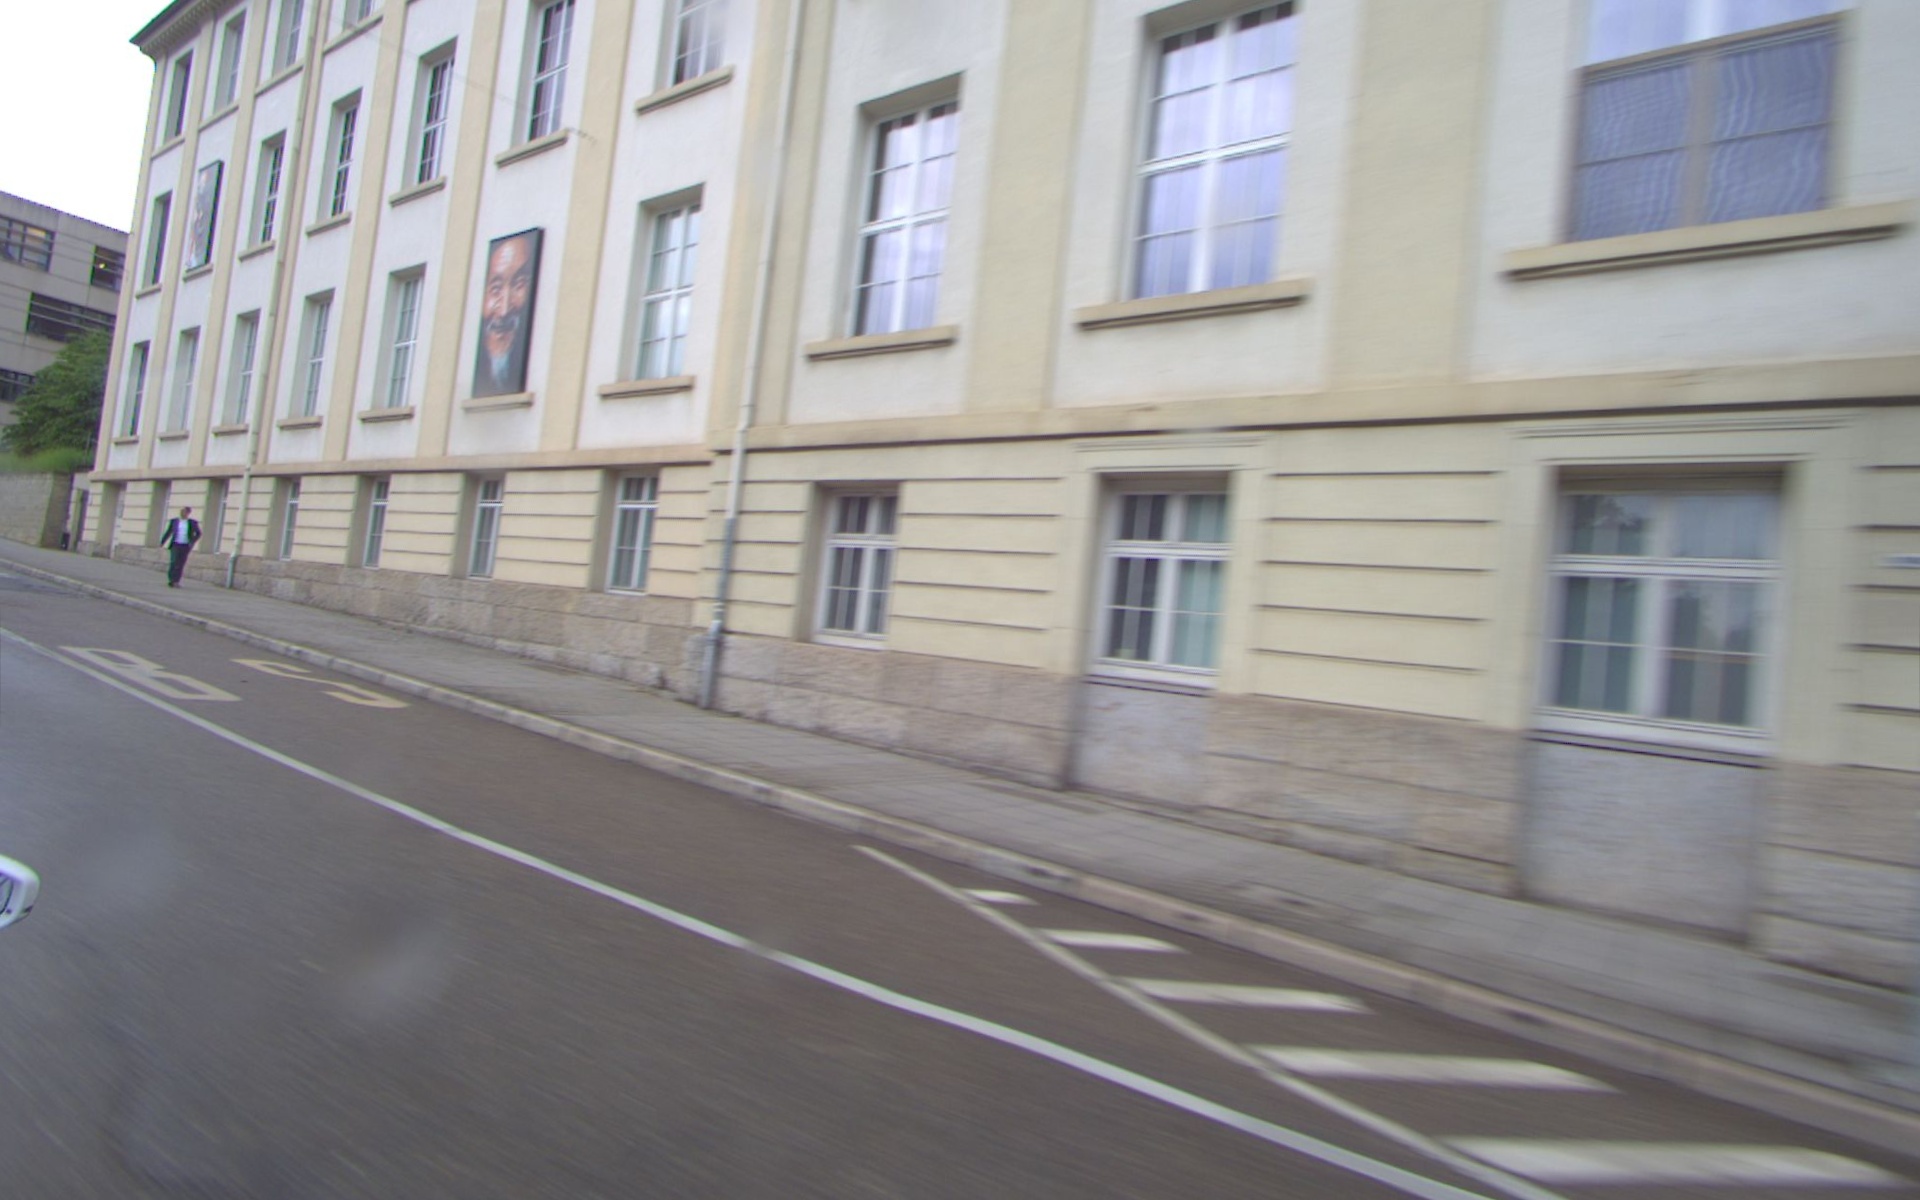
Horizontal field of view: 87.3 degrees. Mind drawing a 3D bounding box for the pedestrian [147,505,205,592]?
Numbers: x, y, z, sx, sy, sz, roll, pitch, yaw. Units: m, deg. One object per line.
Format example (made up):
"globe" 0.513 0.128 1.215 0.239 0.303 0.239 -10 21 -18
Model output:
"pedestrian" -17.565 -1.147 22.527 0.839 1.819 0.670 6 -1 38
